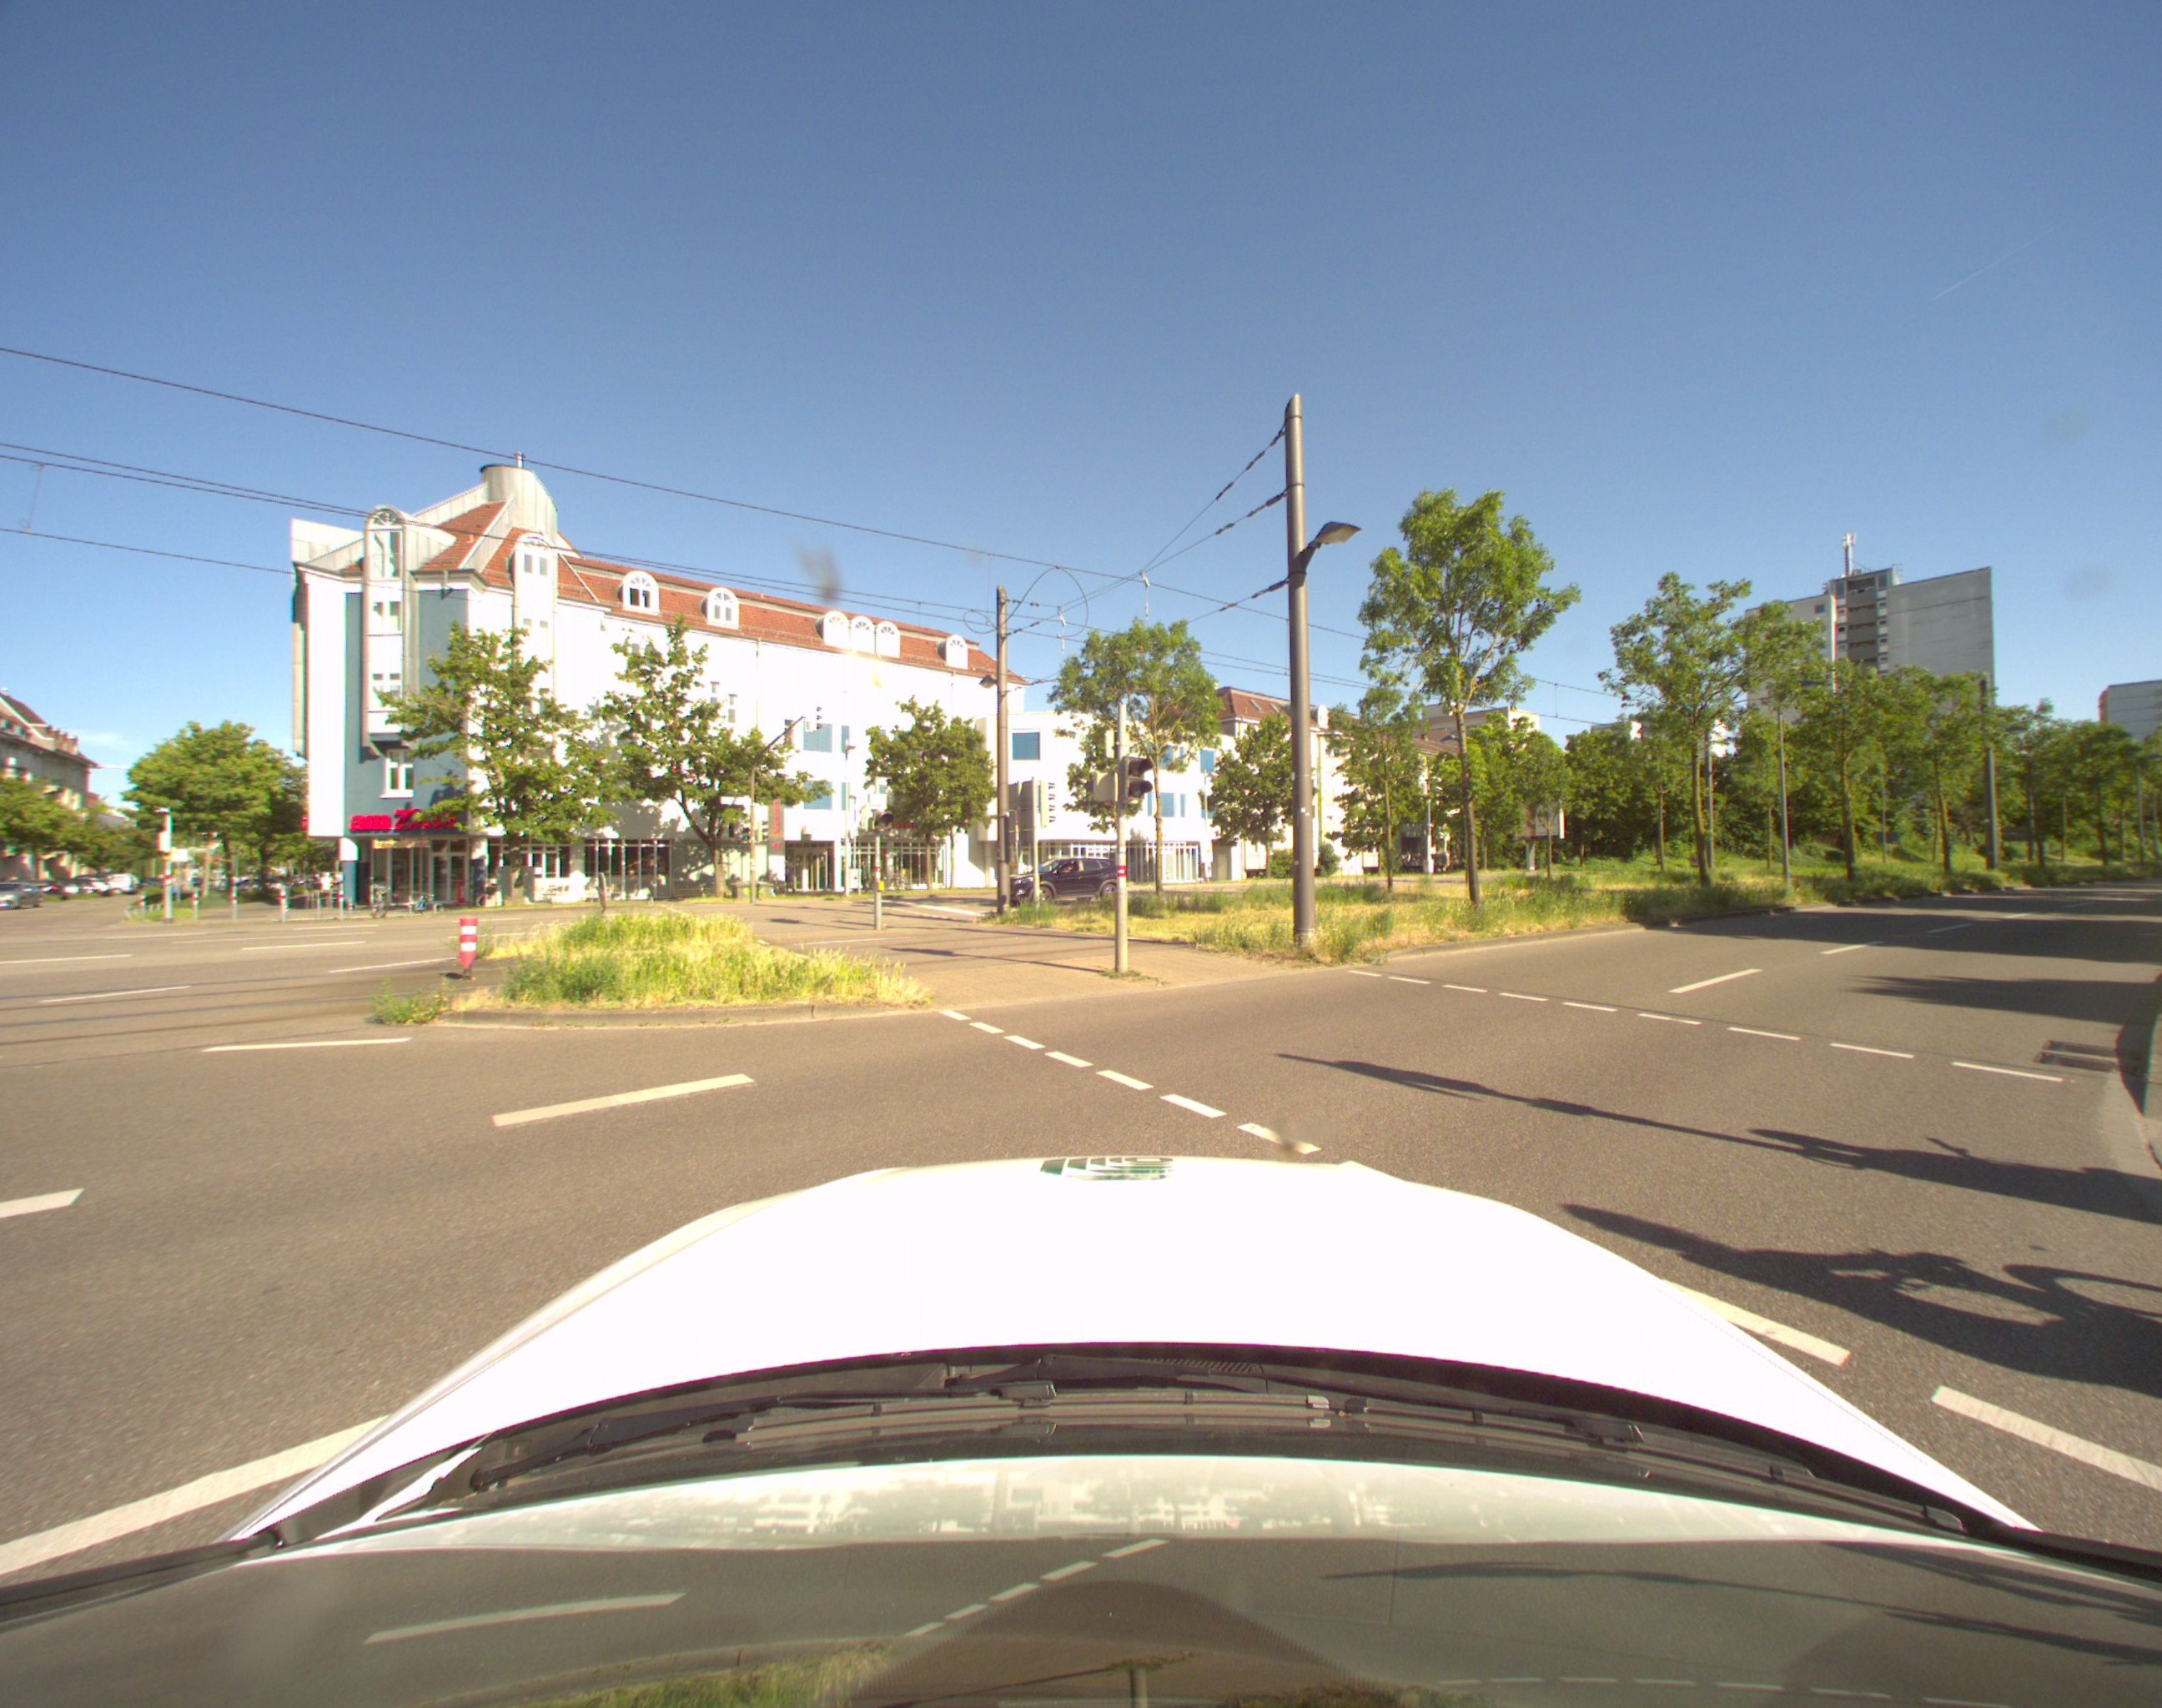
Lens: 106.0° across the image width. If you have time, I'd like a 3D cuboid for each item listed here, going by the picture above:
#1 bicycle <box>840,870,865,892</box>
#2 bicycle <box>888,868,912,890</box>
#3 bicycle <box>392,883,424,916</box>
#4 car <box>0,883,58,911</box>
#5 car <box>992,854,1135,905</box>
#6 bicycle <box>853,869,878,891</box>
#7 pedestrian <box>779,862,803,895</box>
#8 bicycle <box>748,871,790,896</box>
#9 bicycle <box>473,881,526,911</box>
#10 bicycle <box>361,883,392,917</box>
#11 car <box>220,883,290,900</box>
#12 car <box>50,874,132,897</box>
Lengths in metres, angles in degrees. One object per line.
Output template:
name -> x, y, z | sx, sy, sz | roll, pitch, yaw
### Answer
bicycle -> -12.381, 1.454, 44.076 | 0.565, 1.182, 1.847 | 0, -1, -42
bicycle -> -10.189, 1.416, 45.817 | 0.565, 1.182, 1.848 | 0, -1, -39
bicycle -> -21.984, 1.471, 26.606 | 1.496, 1.027, 0.476 | -2, -1, 37
car -> -56.618, 2.251, 43.344 | 1.701, 1.432, 4.348 | 3, -3, -39
car -> -0.567, 0.830, 28.041 | 4.531, 1.609, 1.980 | -1, -1, -32
bicycle -> -11.891, 1.419, 44.900 | 0.565, 1.182, 1.847 | 0, -1, -42
pedestrian -> -15.276, 1.269, 42.926 | 0.998, 1.723, 0.646 | 0, -1, -42
bicycle -> -15.320, 1.432, 40.031 | 1.880, 1.182, 0.555 | 0, -1, -45
bicycle -> -21.129, 1.528, 29.601 | 1.521, 1.027, 0.468 | -1, -1, -30
bicycle -> -22.243, 1.449, 25.707 | 1.496, 1.027, 0.476 | -2, -1, 38
car -> -61.846, 2.792, 61.077 | 3.599, 1.223, 1.710 | 1, -3, -43
car -> -91.786, 2.939, 75.596 | 4.545, 2.014, 1.975 | 1, -3, -43
